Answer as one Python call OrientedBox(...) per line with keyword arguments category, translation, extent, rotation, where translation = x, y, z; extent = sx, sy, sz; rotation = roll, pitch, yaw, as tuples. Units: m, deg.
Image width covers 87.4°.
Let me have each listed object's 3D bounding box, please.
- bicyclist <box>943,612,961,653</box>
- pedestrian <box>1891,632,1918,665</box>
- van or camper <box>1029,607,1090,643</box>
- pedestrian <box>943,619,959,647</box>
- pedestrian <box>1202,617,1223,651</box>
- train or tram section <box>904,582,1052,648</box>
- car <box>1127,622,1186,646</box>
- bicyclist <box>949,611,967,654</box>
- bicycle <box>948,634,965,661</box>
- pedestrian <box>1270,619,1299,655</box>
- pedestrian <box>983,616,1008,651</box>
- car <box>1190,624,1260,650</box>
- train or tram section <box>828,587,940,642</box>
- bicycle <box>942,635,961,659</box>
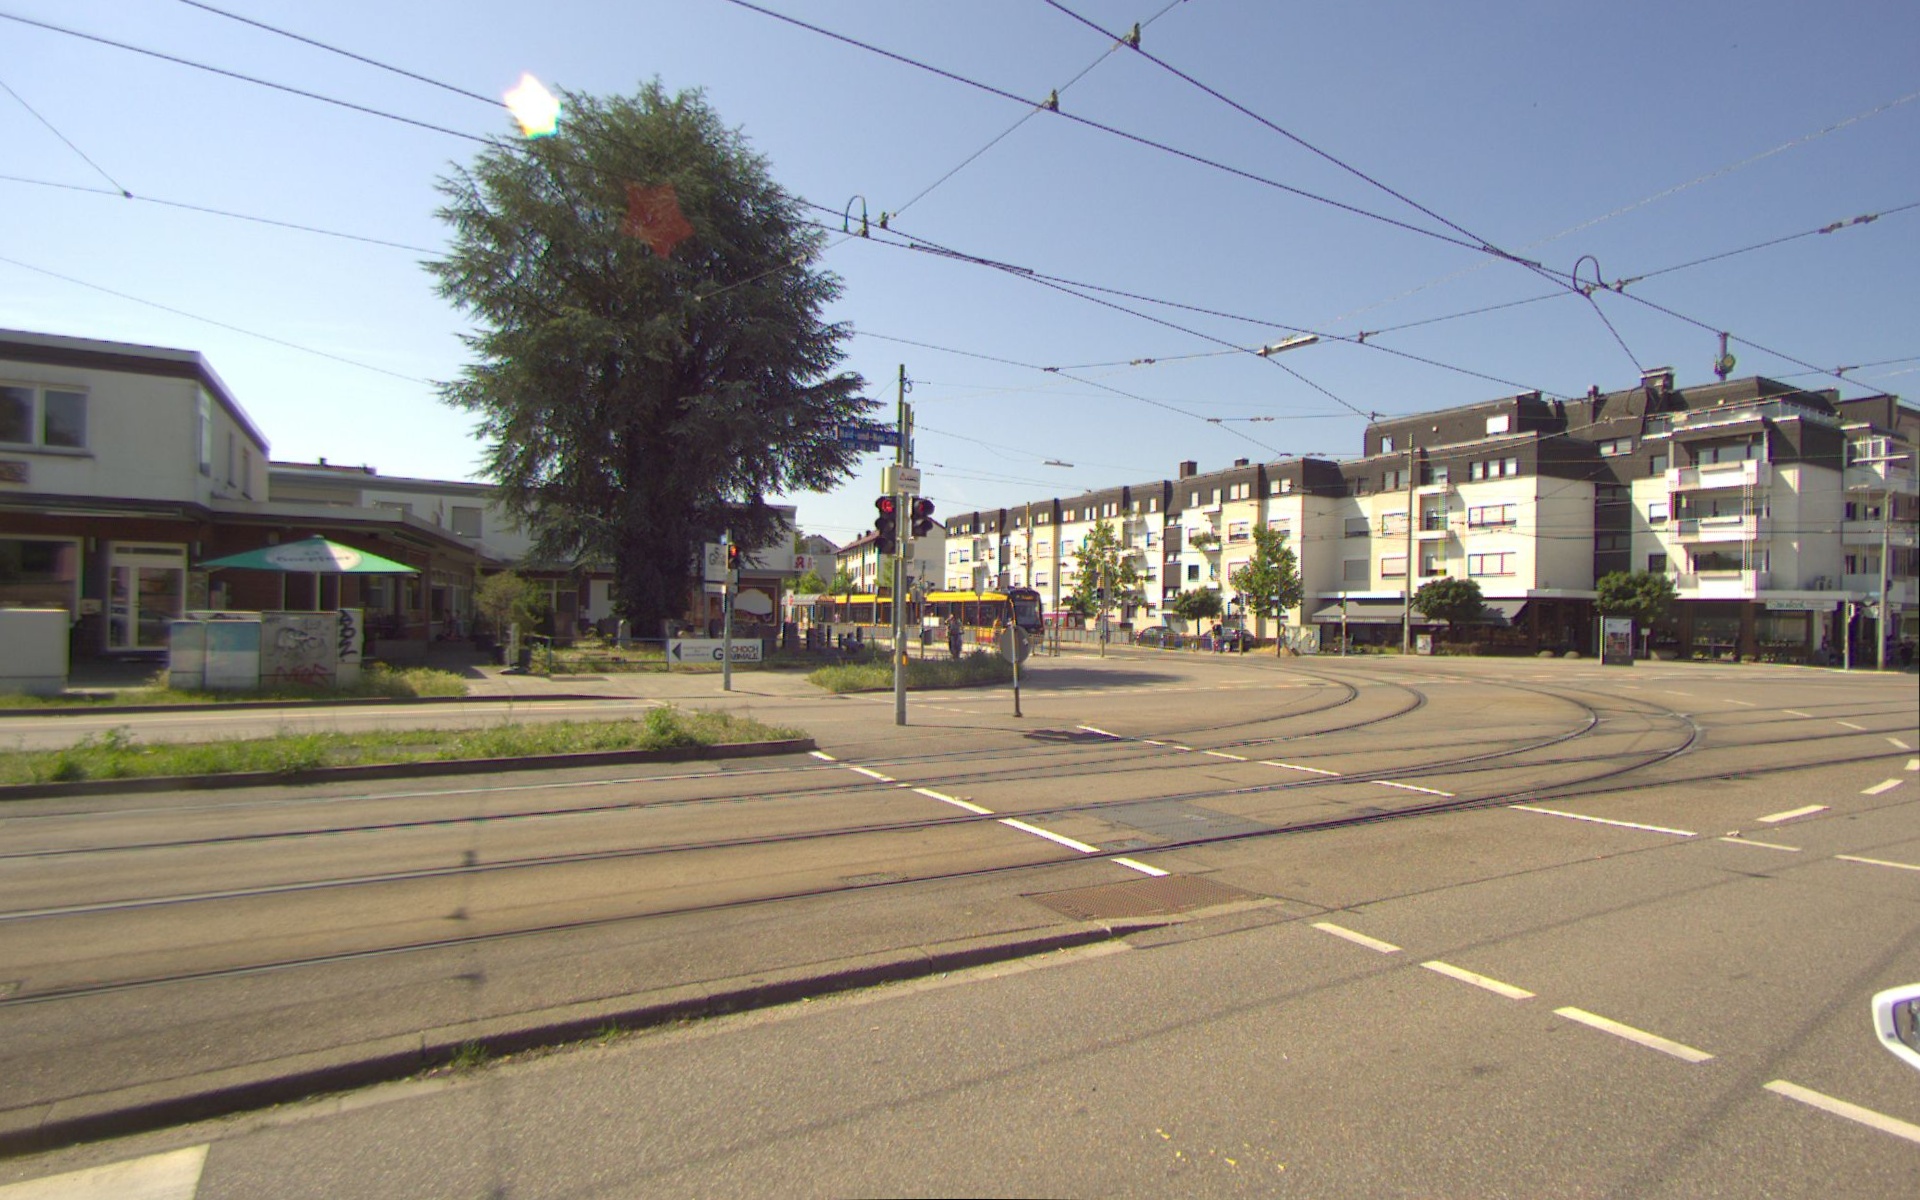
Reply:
OrientedBox(category="bicyclist", translation=(-0.330, 1.281, 40.081), extent=(0.620, 1.595, 0.765), rotation=(1, -1, -6))
OrientedBox(category="pedestrian", translation=(48.805, 2.474, 51.914), extent=(0.667, 1.669, 0.881), rotation=(1, -1, 11))
OrientedBox(category="van or camper", translation=(7.676, 1.940, 78.094), extent=(2.348, 2.659, 4.852), rotation=(1, -1, -30))
OrientedBox(category="pedestrian", translation=(-0.539, 1.995, 60.794), extent=(0.775, 1.648, 0.655), rotation=(1, -1, -29))
OrientedBox(category="pedestrian", translation=(13.429, 1.810, 53.452), extent=(0.755, 1.783, 0.804), rotation=(1, -1, -32))
OrientedBox(category="train or tram section", translation=(0.746, 0.966, 63.148), extent=(2.736, 3.706, 13.801), rotation=(1, -1, -29))
OrientedBox(category="car", translation=(13.277, 2.305, 68.107), extent=(1.807, 1.520, 3.968), rotation=(1, -1, -30))
OrientedBox(category="bicyclist", translation=(-0.086, 1.202, 37.308), extent=(0.620, 1.578, 0.766), rotation=(1, -2, -4))
OrientedBox(category="bicycle", translation=(-0.127, 1.757, 37.425), extent=(0.525, 0.959, 2.137), rotation=(1, -1, 2))
OrientedBox(category="pedestrian", translation=(16.957, 1.933, 52.551), extent=(1.410, 1.860, 1.123), rotation=(0, -1, 18))
OrientedBox(category="pedestrian", translation=(1.950, 1.833, 54.819), extent=(0.886, 1.862, 1.193), rotation=(1, -1, -29))
OrientedBox(category="car", translation=(16.506, 2.285, 62.748), extent=(1.807, 1.520, 4.153), rotation=(1, -1, -30))
OrientedBox(category="train or tram section", translation=(-5.984, 1.099, 75.225), extent=(2.736, 3.706, 13.801), rotation=(1, -1, -29))
OrientedBox(category="bicycle", translation=(-0.343, 1.856, 40.195), extent=(0.565, 0.902, 2.135), rotation=(1, -1, -5))
